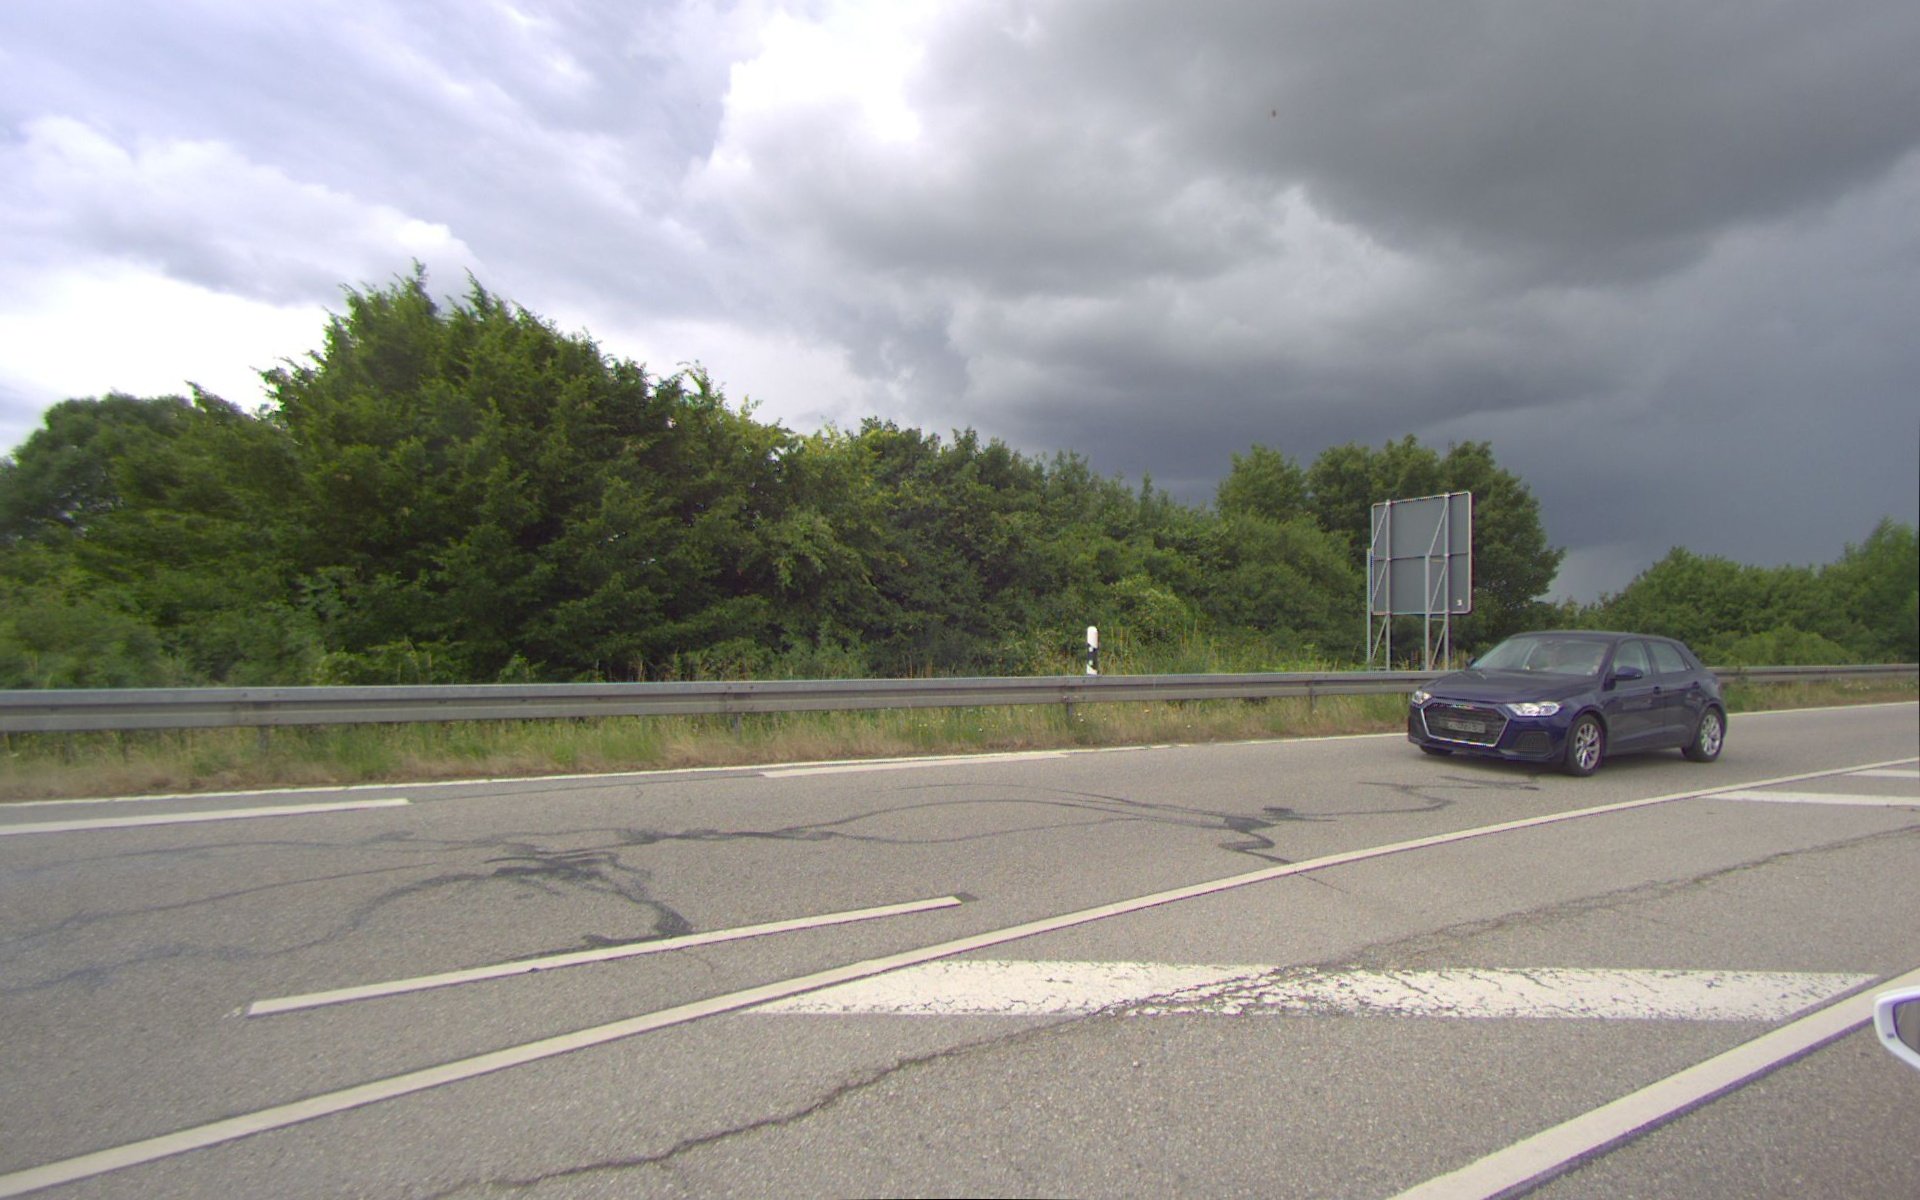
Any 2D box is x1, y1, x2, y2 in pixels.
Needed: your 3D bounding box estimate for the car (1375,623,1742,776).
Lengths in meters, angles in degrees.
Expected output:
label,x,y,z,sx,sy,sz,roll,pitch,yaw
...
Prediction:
label,x,y,z,sx,sy,sz,roll,pitch,yaw
car,6.685,1.001,11.150,3.954,1.394,1.853,2,-1,-31
